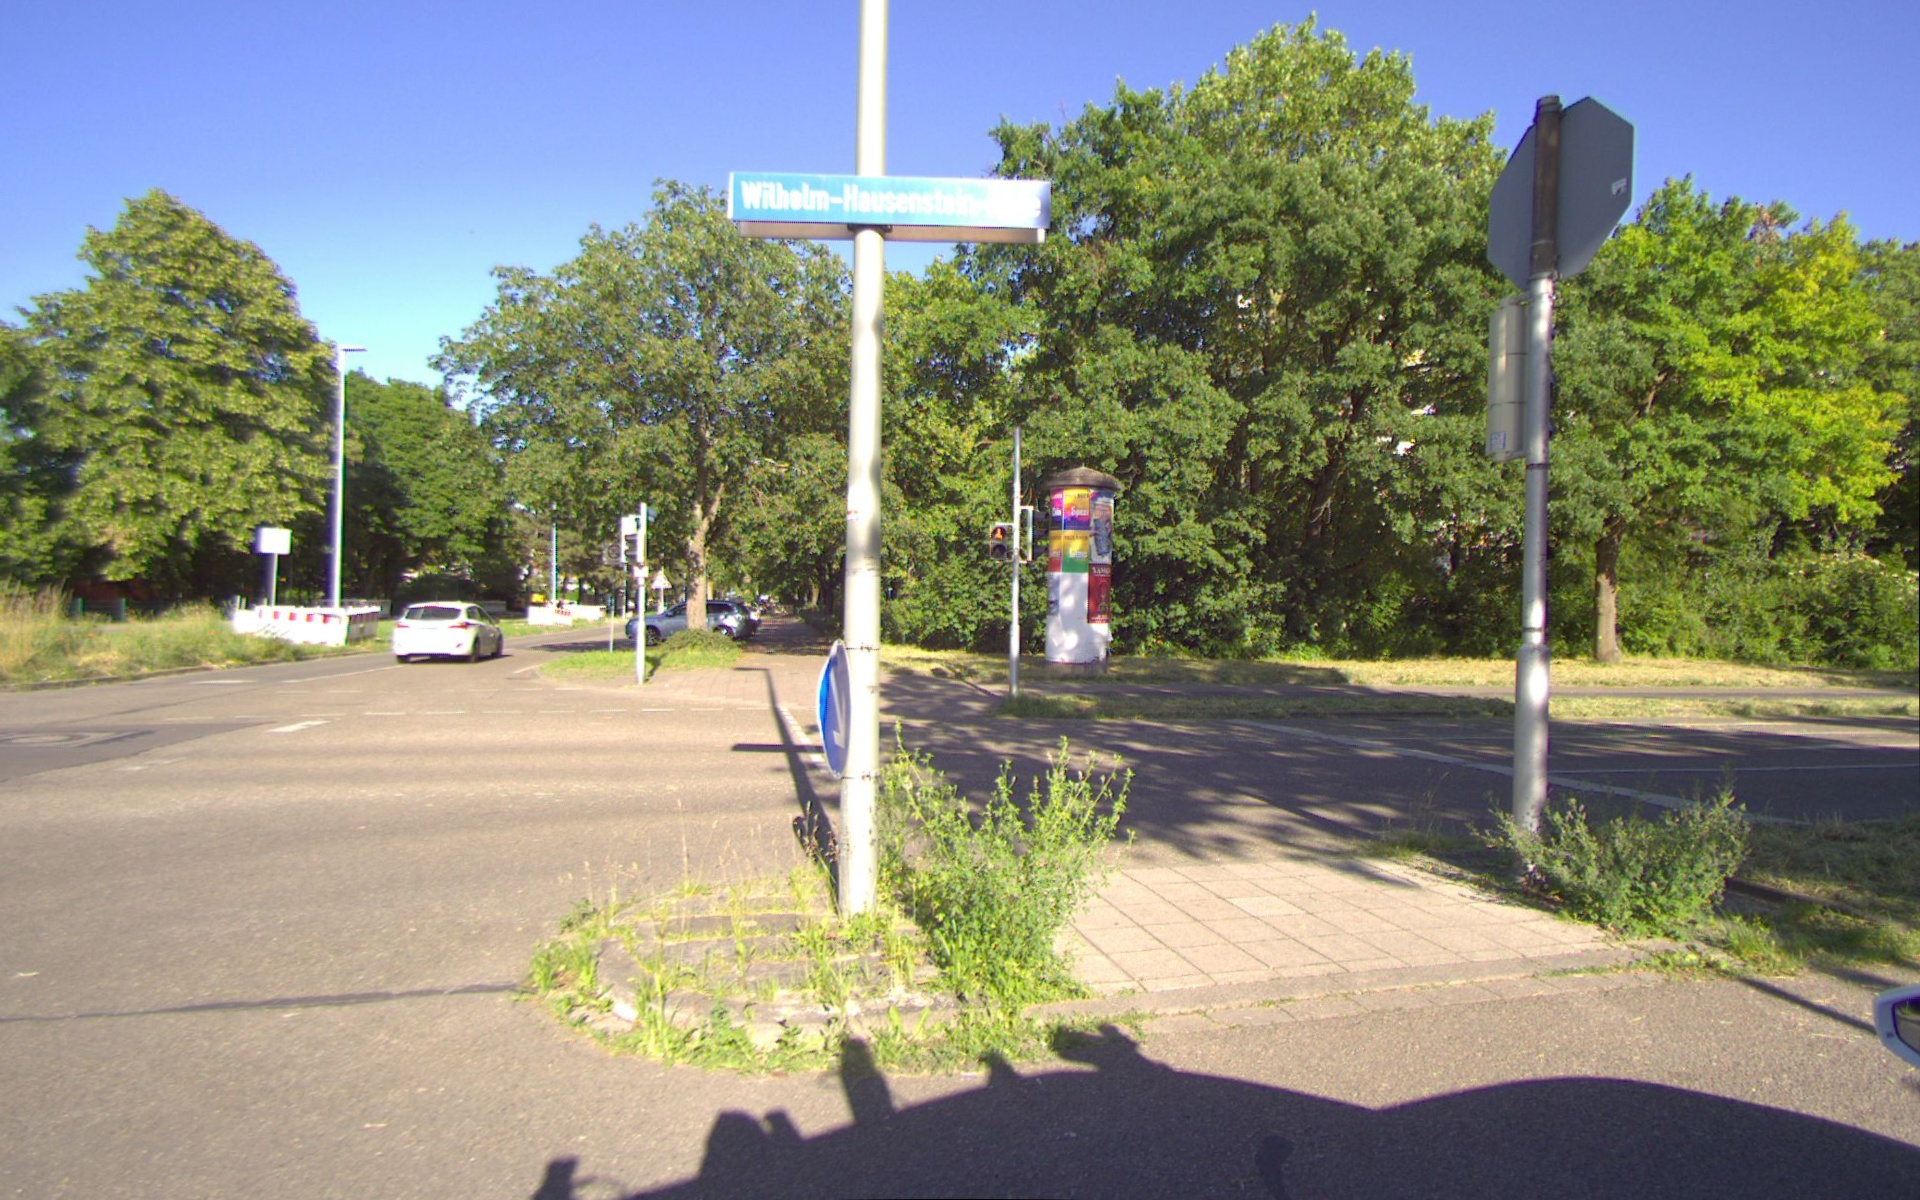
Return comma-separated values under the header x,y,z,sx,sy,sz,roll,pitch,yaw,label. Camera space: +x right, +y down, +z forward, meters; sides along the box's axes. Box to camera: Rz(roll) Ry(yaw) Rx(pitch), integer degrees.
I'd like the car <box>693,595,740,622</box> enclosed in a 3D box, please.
x,y,z,sx,sy,sz,roll,pitch,yaw,label
-21.373,0.763,88.288,3.764,2.126,1.860,3,-1,-11,car

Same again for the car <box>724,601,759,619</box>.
x,y,z,sx,sy,sz,roll,pitch,yaw,label
-24.391,1.150,112.275,3.764,1.791,1.860,3,-1,-11,car

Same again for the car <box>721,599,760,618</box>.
x,y,z,sx,sy,sz,roll,pitch,yaw,label
-25.185,1.026,115.323,4.240,1.933,1.860,3,-1,-11,car

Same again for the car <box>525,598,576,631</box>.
x,y,z,sx,sy,sz,roll,pitch,yaw,label
-24.102,0.869,59.279,1.965,1.840,3.992,2,-1,-11,car

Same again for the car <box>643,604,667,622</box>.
x,y,z,sx,sy,sz,roll,pitch,yaw,label
-32.420,1.396,106.798,1.965,1.839,3.993,3,-1,-10,car

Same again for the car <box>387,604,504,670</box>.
x,y,z,sx,sy,sz,roll,pitch,yaw,label
-12.980,0.889,25.583,1.765,1.482,3.952,2,-1,-14,car

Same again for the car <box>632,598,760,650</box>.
x,y,z,sx,sy,sz,roll,pitch,yaw,label
-9.821,0.888,37.657,4.431,1.806,1.852,2,-1,-9,car

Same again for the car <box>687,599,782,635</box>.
x,y,z,sx,sy,sz,roll,pitch,yaw,label
-11.186,0.870,50.043,4.431,1.651,1.852,2,-1,-9,car
